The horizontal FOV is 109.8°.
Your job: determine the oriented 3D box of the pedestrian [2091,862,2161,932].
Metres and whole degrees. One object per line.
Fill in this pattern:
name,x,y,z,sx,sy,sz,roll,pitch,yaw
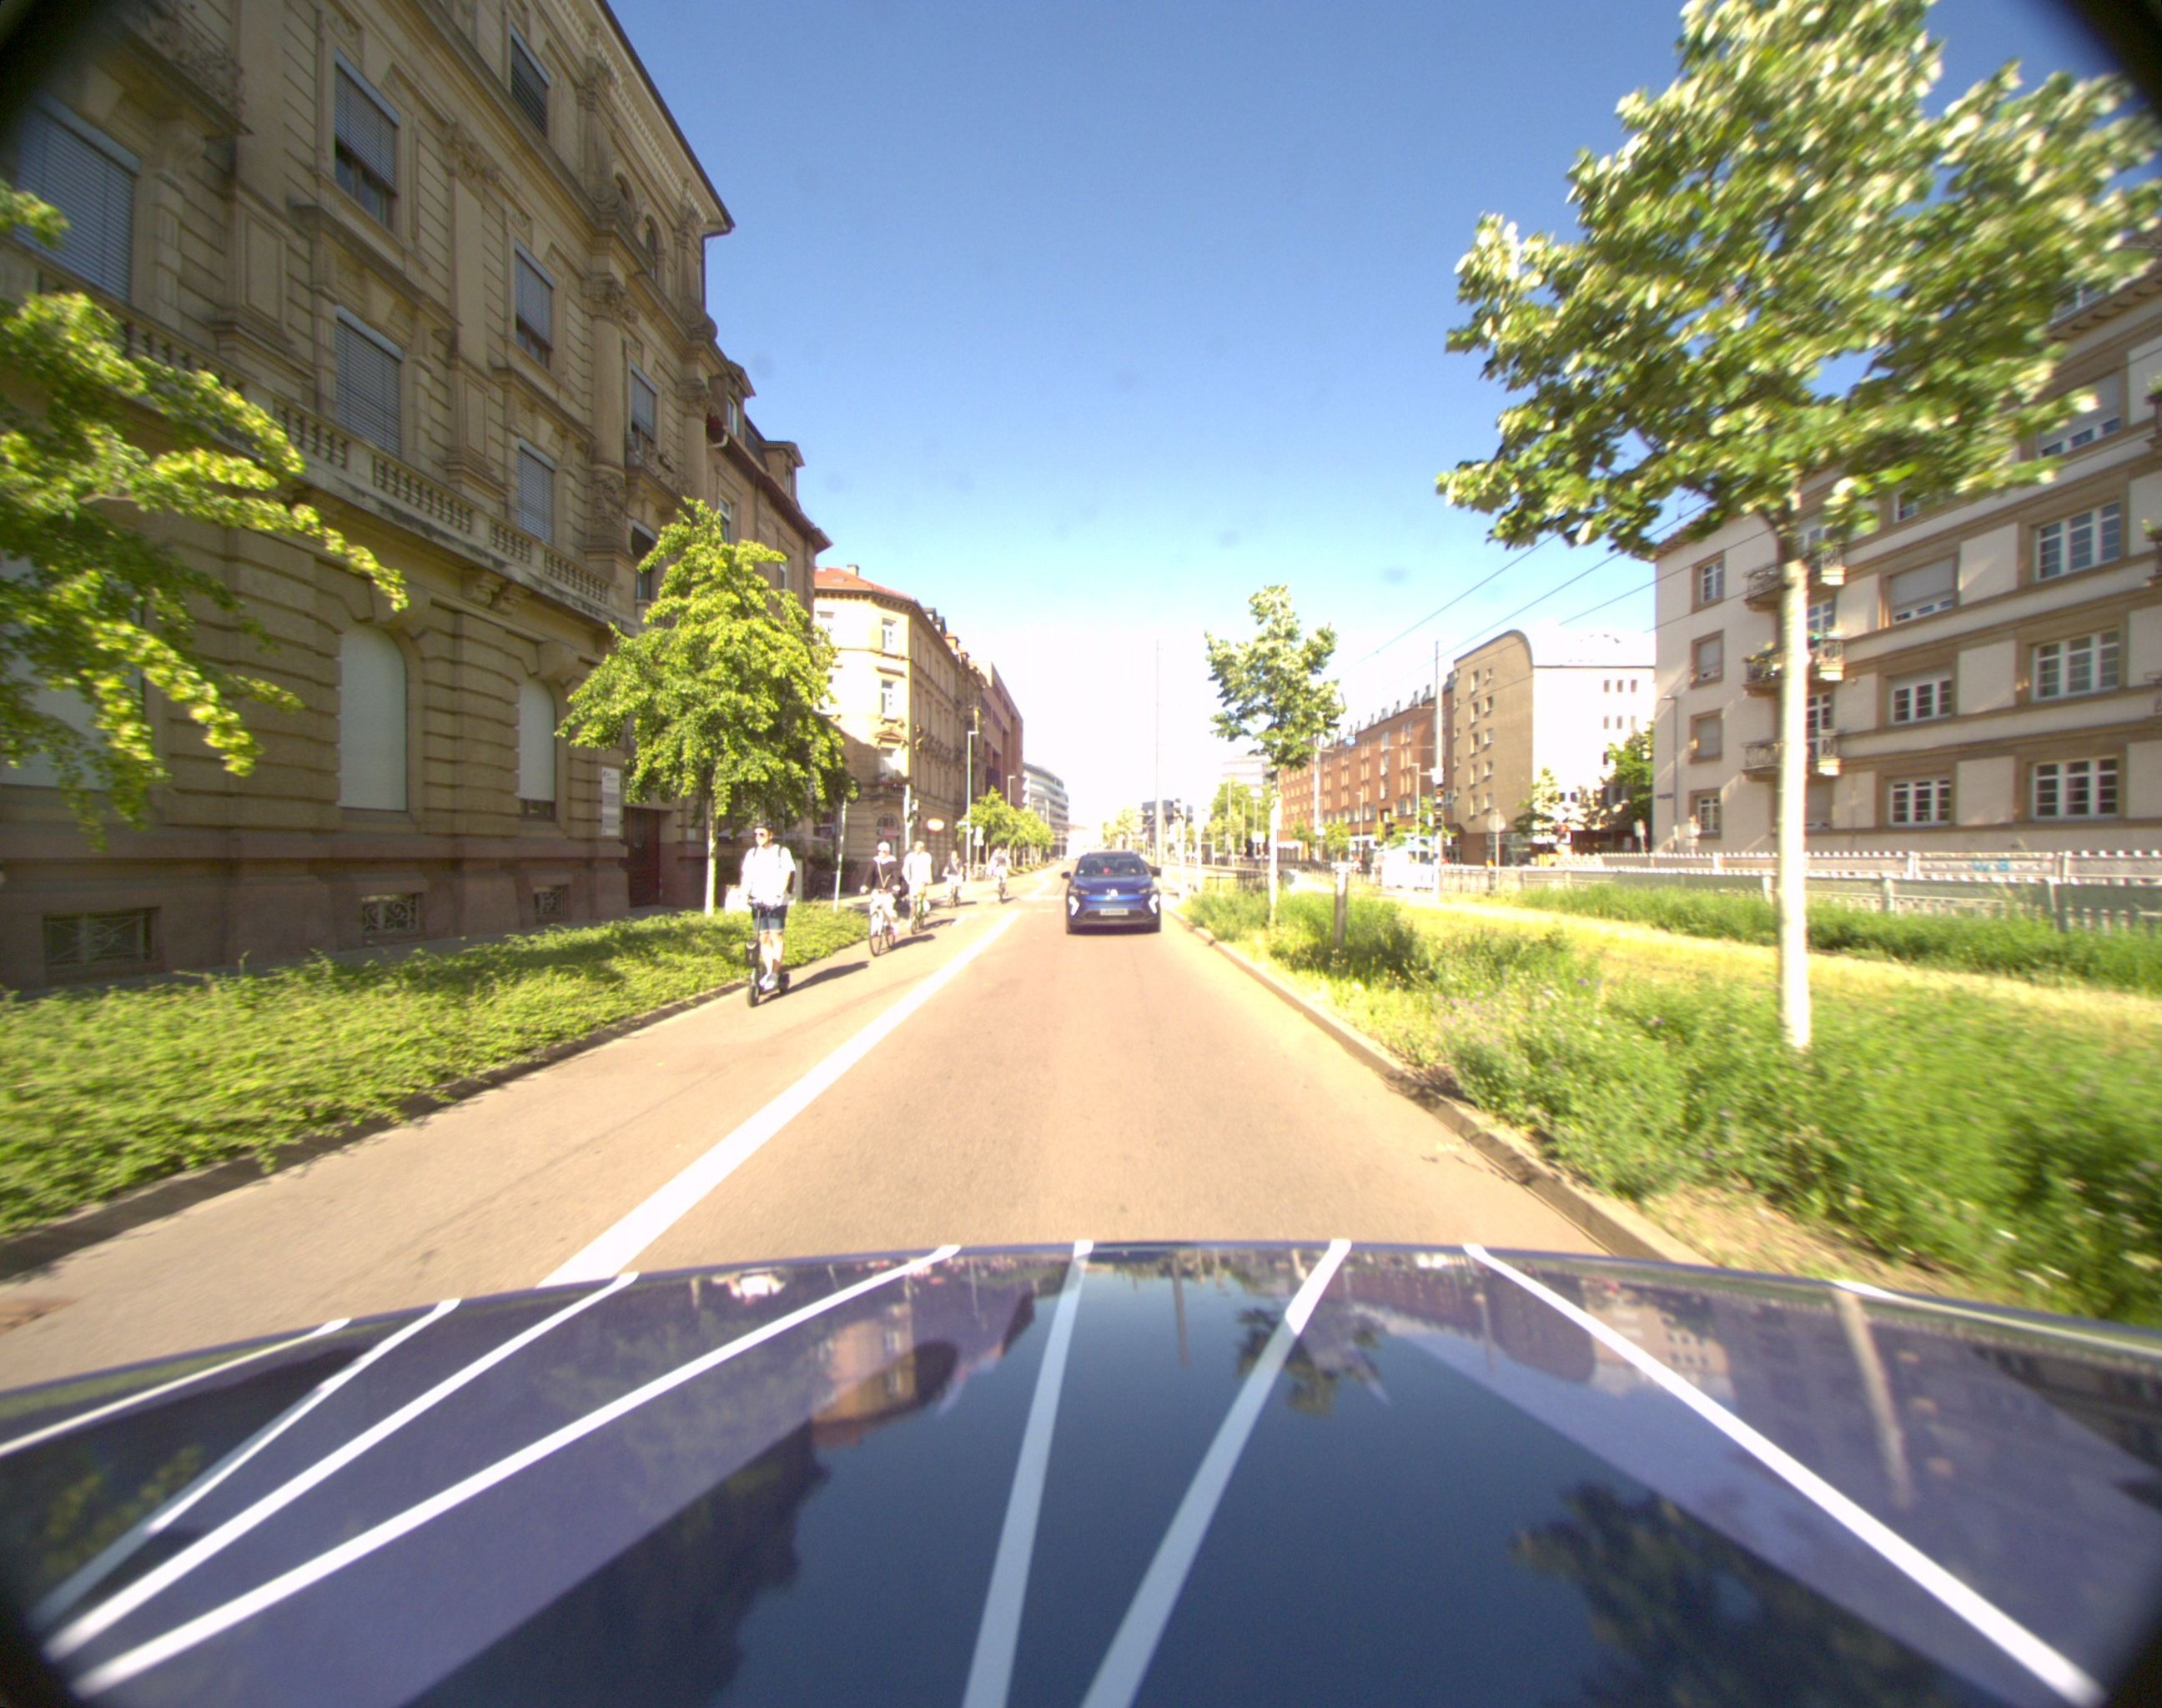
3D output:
pedestrian,24.003,0.958,17.247,0.788,1.509,1.020,-1,1,1

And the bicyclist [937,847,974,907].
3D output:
bicyclist,-3.685,0.658,22.368,0.854,1.717,0.989,-1,1,1

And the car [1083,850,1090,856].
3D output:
car,1.477,-0.267,204.237,1.745,1.543,4.000,0,0,0

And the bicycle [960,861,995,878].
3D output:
bicycle,-6.050,0.915,44.438,1.905,0.906,0.592,2,2,9

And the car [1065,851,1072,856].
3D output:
car,-3.696,-0.223,221.628,1.745,1.543,4.000,0,0,1

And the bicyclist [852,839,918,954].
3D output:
bicyclist,-3.204,0.673,12.517,0.725,1.807,1.091,-1,1,3

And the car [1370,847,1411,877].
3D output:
car,25.615,0.621,63.071,1.997,2.283,5.191,-1,1,9

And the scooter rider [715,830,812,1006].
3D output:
scooter rider,-3.513,0.677,8.471,0.663,1.856,0.897,-1,1,-1

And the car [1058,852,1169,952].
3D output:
car,0.567,0.787,14.693,1.758,1.576,4.420,-2,0,1

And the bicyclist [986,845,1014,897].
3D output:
bicyclist,-2.561,0.517,24.060,0.725,1.595,0.895,-1,1,1

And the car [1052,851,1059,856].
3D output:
car,-6.921,-0.159,206.102,1.745,1.543,4.000,0,0,0

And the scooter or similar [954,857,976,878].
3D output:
scooter or similar,-6.563,0.762,42.921,1.199,1.191,0.487,0,1,-4

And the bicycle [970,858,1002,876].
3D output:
bicycle,-5.992,0.847,48.163,1.903,1.024,1.030,2,1,-3

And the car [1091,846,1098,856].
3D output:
car,3.415,-0.760,190.186,1.758,2.472,4.610,0,0,1

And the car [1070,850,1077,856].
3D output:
car,-2.047,-0.230,205.627,1.745,1.543,4.000,0,0,1

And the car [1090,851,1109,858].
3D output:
car,4.235,0.176,177.219,4.416,1.547,1.759,0,1,1

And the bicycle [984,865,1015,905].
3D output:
bicycle,-2.554,0.957,24.067,0.725,1.187,1.952,-1,0,1

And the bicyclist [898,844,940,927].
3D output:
bicyclist,-3.327,0.626,15.675,0.700,1.647,0.977,-1,1,-4

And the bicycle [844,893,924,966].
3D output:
bicycle,-3.194,1.199,12.526,0.725,1.000,1.952,-1,0,2

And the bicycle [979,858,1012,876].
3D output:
bicycle,-5.705,0.878,50.711,2.062,1.036,0.847,3,1,0

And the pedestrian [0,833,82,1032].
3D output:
pedestrian,-9.661,0.676,6.383,0.972,1.682,1.113,-1,1,1

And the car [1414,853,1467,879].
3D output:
car,24.501,0.805,51.949,1.699,1.630,3.999,-1,1,-1

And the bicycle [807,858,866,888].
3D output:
bicycle,-10.383,0.813,32.362,2.216,1.224,0.818,1,-2,7

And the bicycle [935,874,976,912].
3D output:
bicycle,-3.678,1.113,22.368,0.830,1.000,1.952,-1,0,1

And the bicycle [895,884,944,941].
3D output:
bicycle,-3.322,1.176,15.767,0.725,1.000,1.951,-1,0,-4

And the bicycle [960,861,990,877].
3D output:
bicycle,-6.299,0.868,45.071,1.717,0.920,0.497,0,1,1

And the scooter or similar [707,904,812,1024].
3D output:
scooter or similar,-3.524,1.178,8.433,0.647,1.151,1.150,-1,1,0

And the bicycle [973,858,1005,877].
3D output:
bicycle,-5.656,0.844,46.649,1.876,1.043,0.608,3,1,-4

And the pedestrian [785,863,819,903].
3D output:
pedestrian,-8.474,0.878,23.112,0.719,1.176,0.881,0,1,0

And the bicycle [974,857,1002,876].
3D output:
bicycle,-6.032,0.813,49.308,1.678,1.056,1.134,4,1,-1
